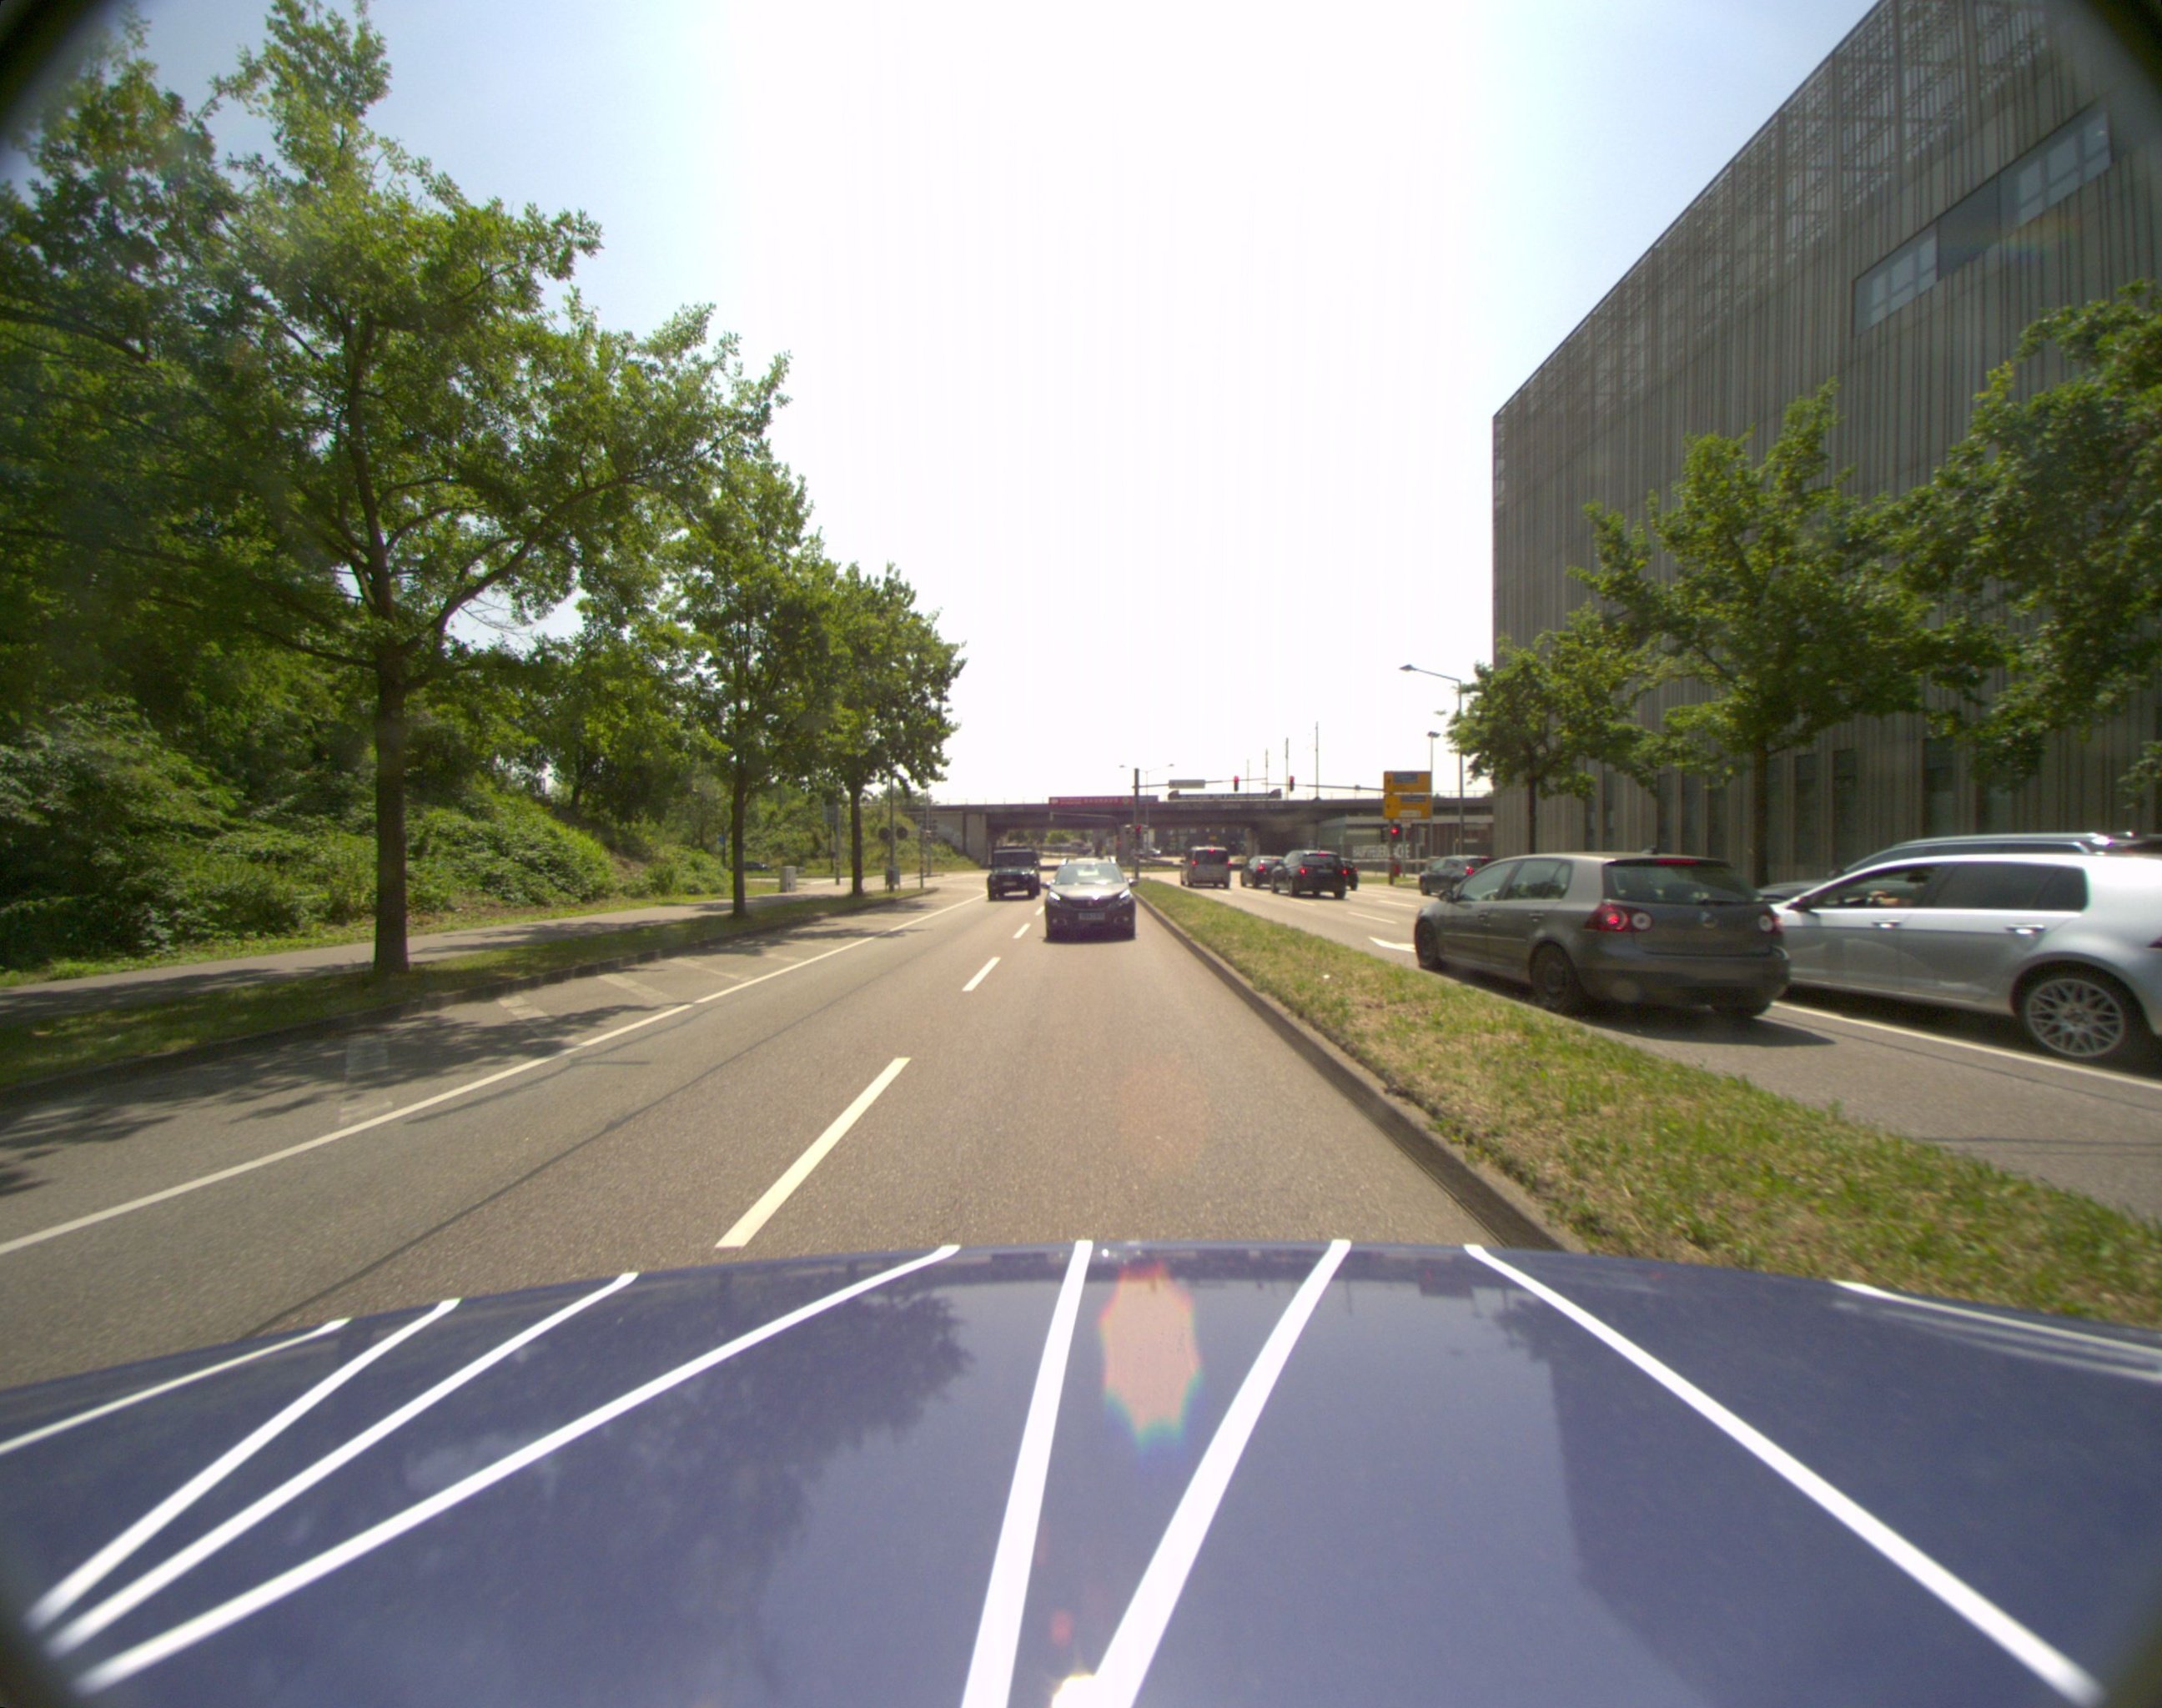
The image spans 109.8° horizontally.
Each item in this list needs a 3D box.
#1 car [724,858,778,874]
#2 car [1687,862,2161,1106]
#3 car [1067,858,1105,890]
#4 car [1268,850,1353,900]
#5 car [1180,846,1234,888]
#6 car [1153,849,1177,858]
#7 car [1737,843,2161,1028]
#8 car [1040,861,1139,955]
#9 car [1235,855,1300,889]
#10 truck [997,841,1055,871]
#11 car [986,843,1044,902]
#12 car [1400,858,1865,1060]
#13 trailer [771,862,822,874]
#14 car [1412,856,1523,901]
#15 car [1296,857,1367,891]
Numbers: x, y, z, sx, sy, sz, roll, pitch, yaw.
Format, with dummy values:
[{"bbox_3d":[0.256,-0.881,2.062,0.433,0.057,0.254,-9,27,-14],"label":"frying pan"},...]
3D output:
[{"bbox_3d":[-28.678,1.042,66.140,3.901,1.382,1.809,-1,0,-2],"label":"car"},{"bbox_3d":[7.610,0.838,6.359,1.770,1.452,4.145,1,0,0],"label":"car"},{"bbox_3d":[0.200,0.957,38.487,1.817,1.456,3.999,-1,0,-1],"label":"car"},{"bbox_3d":[8.254,0.694,27.753,1.807,1.653,4.573,0,0,1],"label":"car"},{"bbox_3d":[5.679,0.565,34.767,1.814,1.790,4.714,1,0,1],"label":"car"},{"bbox_3d":[15.461,-0.124,139.182,3.991,1.674,2.003,0,0,18],"label":"car"},{"bbox_3d":[11.017,0.764,9.338,1.815,1.736,4.645,1,0,-1],"label":"car"},{"bbox_3d":[0.265,0.915,14.749,1.619,1.503,4.459,-1,0,3],"label":"car"},{"bbox_3d":[8.412,0.771,34.622,1.815,1.437,4.250,0,0,-1],"label":"car"},{"bbox_3d":[-5.442,0.144,77.296,2.882,2.899,8.526,-2,0,17],"label":"truck"},{"bbox_3d":[-2.522,0.654,30.046,1.841,2.141,4.557,-1,1,1],"label":"car"},{"bbox_3d":[4.999,0.804,7.752,1.815,1.458,4.057,1,0,1],"label":"car"},{"bbox_3d":[-24.835,1.223,66.329,3.831,0.936,1.681,-1,0,-2],"label":"trailer"},{"bbox_3d":[14.367,0.866,28.547,1.815,1.534,4.369,1,0,-2],"label":"car"},{"bbox_3d":[11.520,0.878,35.212,1.815,1.409,4.250,0,0,-1],"label":"car"}]
